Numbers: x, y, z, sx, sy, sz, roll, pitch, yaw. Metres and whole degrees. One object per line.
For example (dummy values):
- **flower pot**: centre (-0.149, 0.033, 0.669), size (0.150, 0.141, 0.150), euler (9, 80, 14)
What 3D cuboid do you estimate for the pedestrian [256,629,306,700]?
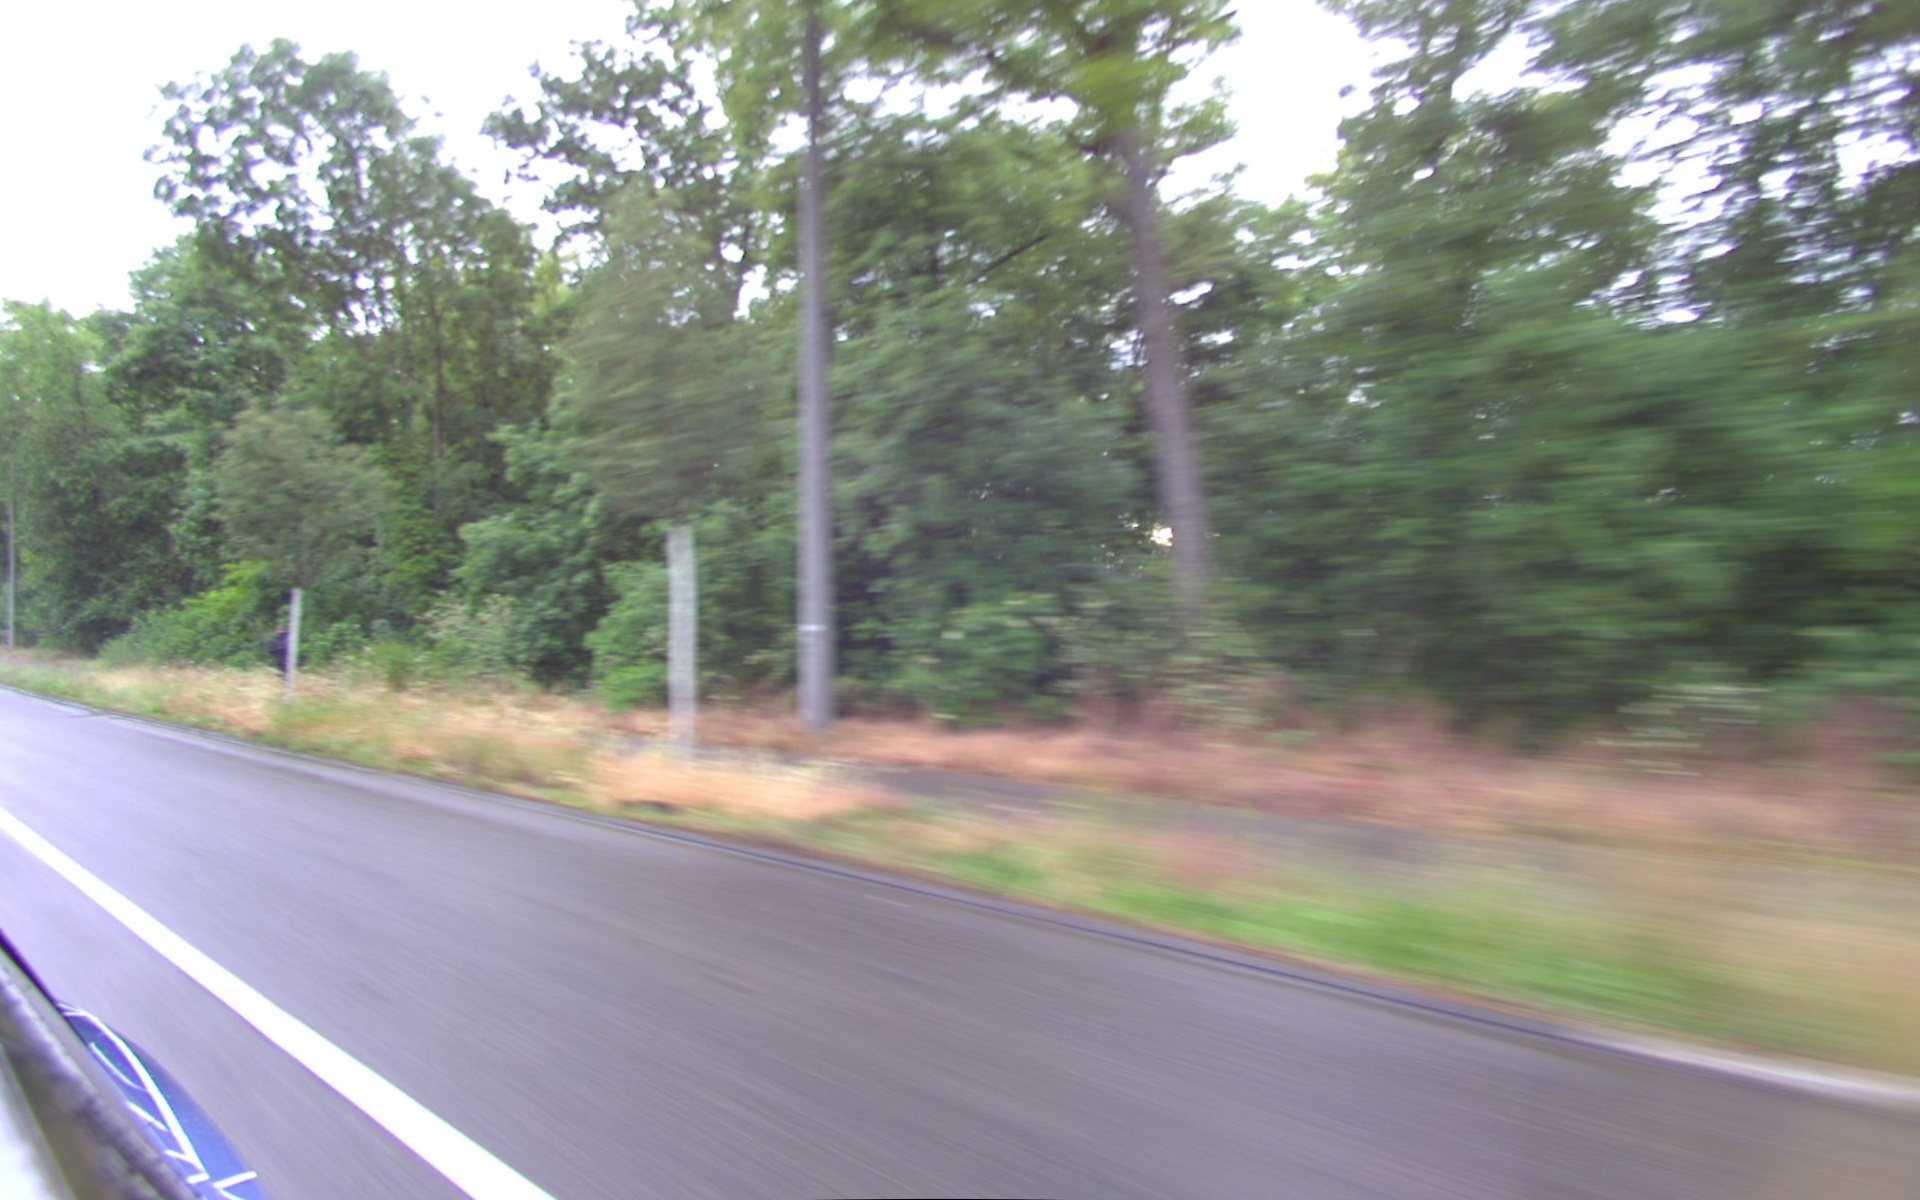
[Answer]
- **pedestrian**: centre (-16.070, 1.512, 23.953), size (0.731, 1.620, 0.773), euler (-2, -2, 39)
